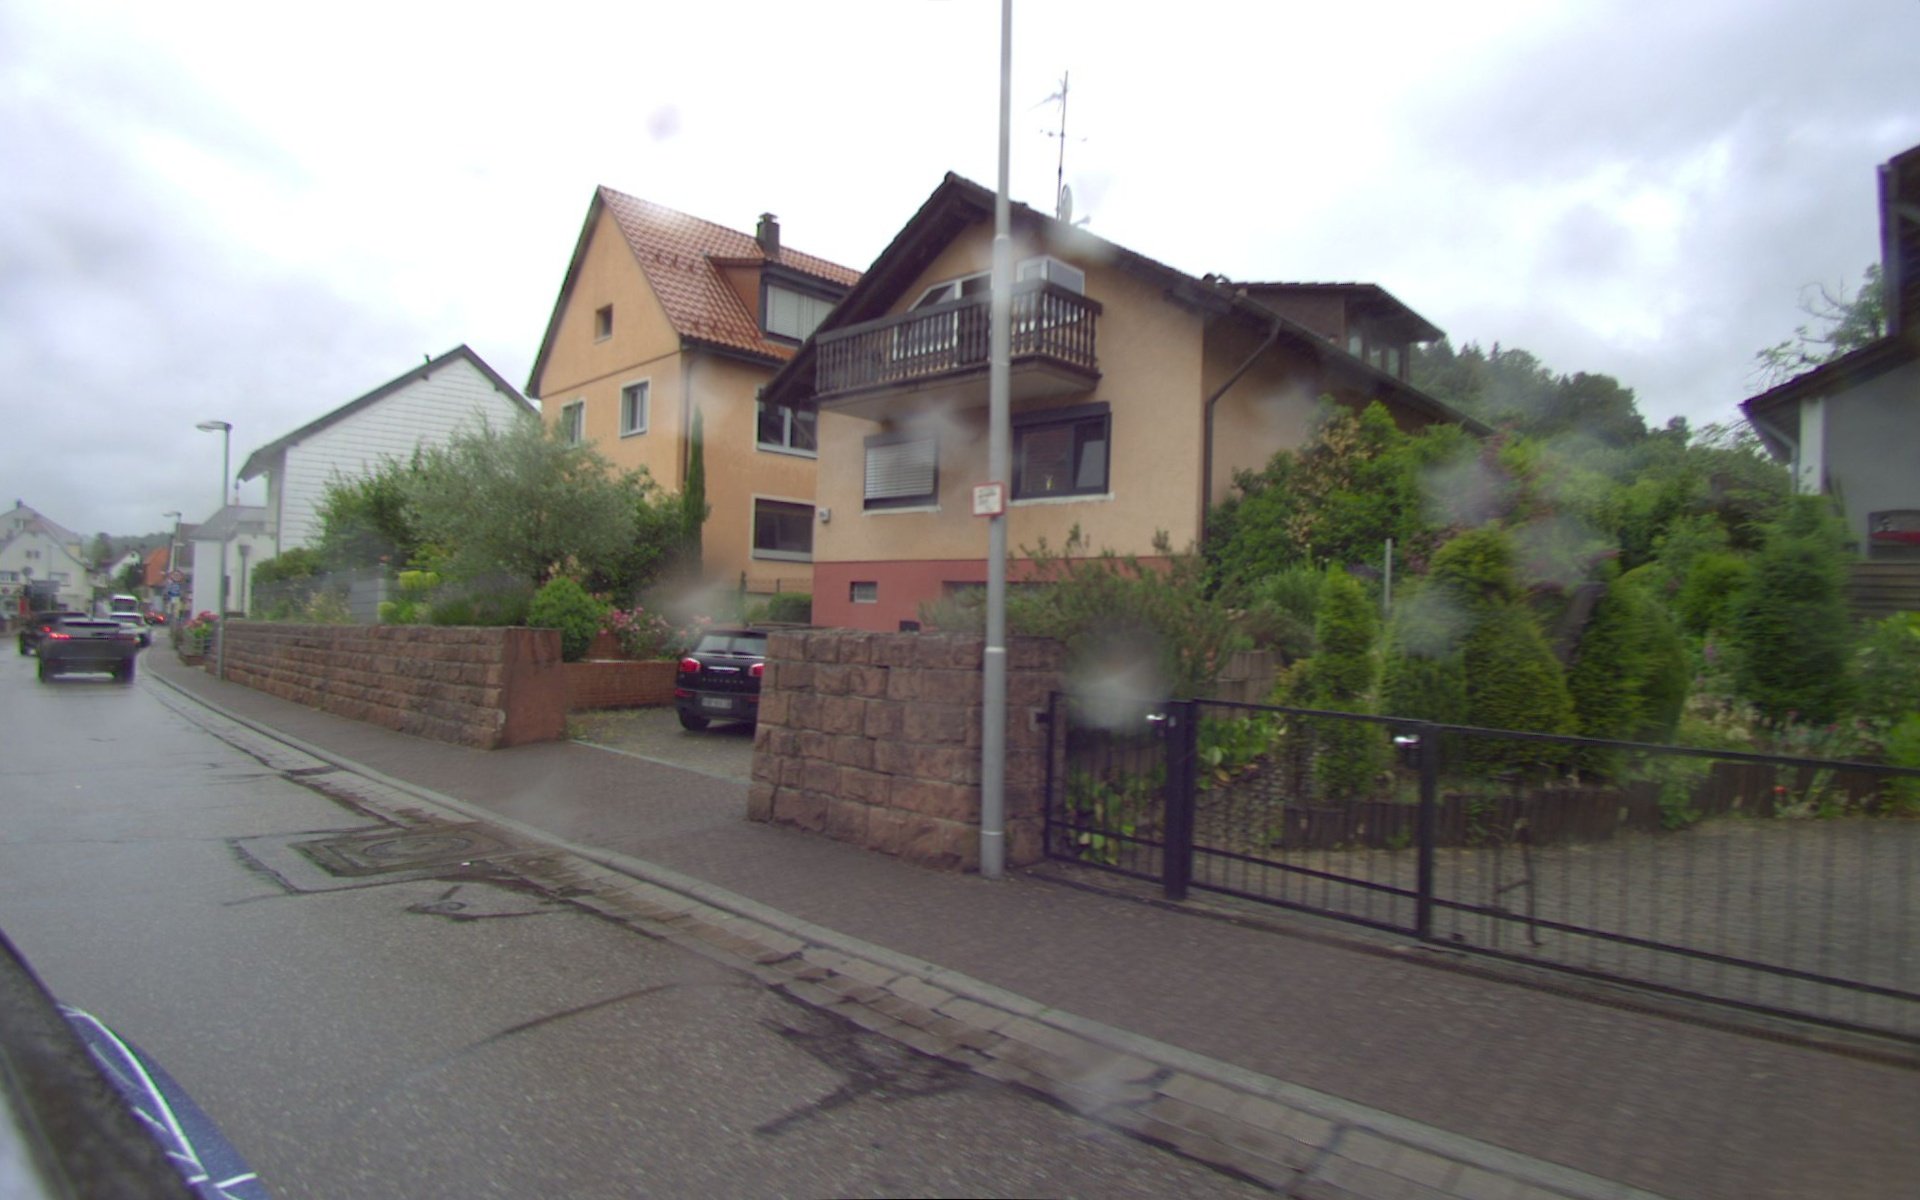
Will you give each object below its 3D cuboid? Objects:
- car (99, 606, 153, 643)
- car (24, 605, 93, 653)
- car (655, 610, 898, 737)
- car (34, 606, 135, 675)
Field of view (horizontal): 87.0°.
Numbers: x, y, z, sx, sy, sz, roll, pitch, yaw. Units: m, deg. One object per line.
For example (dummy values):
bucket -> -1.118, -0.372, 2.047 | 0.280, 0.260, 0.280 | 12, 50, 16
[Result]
car -> -42.067, 1.215, 51.100 | 1.787, 1.696, 4.193 | 3, -2, -36
car -> -34.926, 1.086, 39.242 | 1.811, 1.686, 5.204 | 4, -2, -41
car -> -2.392, 0.896, 14.297 | 1.798, 1.462, 3.979 | 1, 0, 16
car -> -21.984, 1.012, 25.364 | 1.679, 1.558, 3.854 | 5, -5, -43
